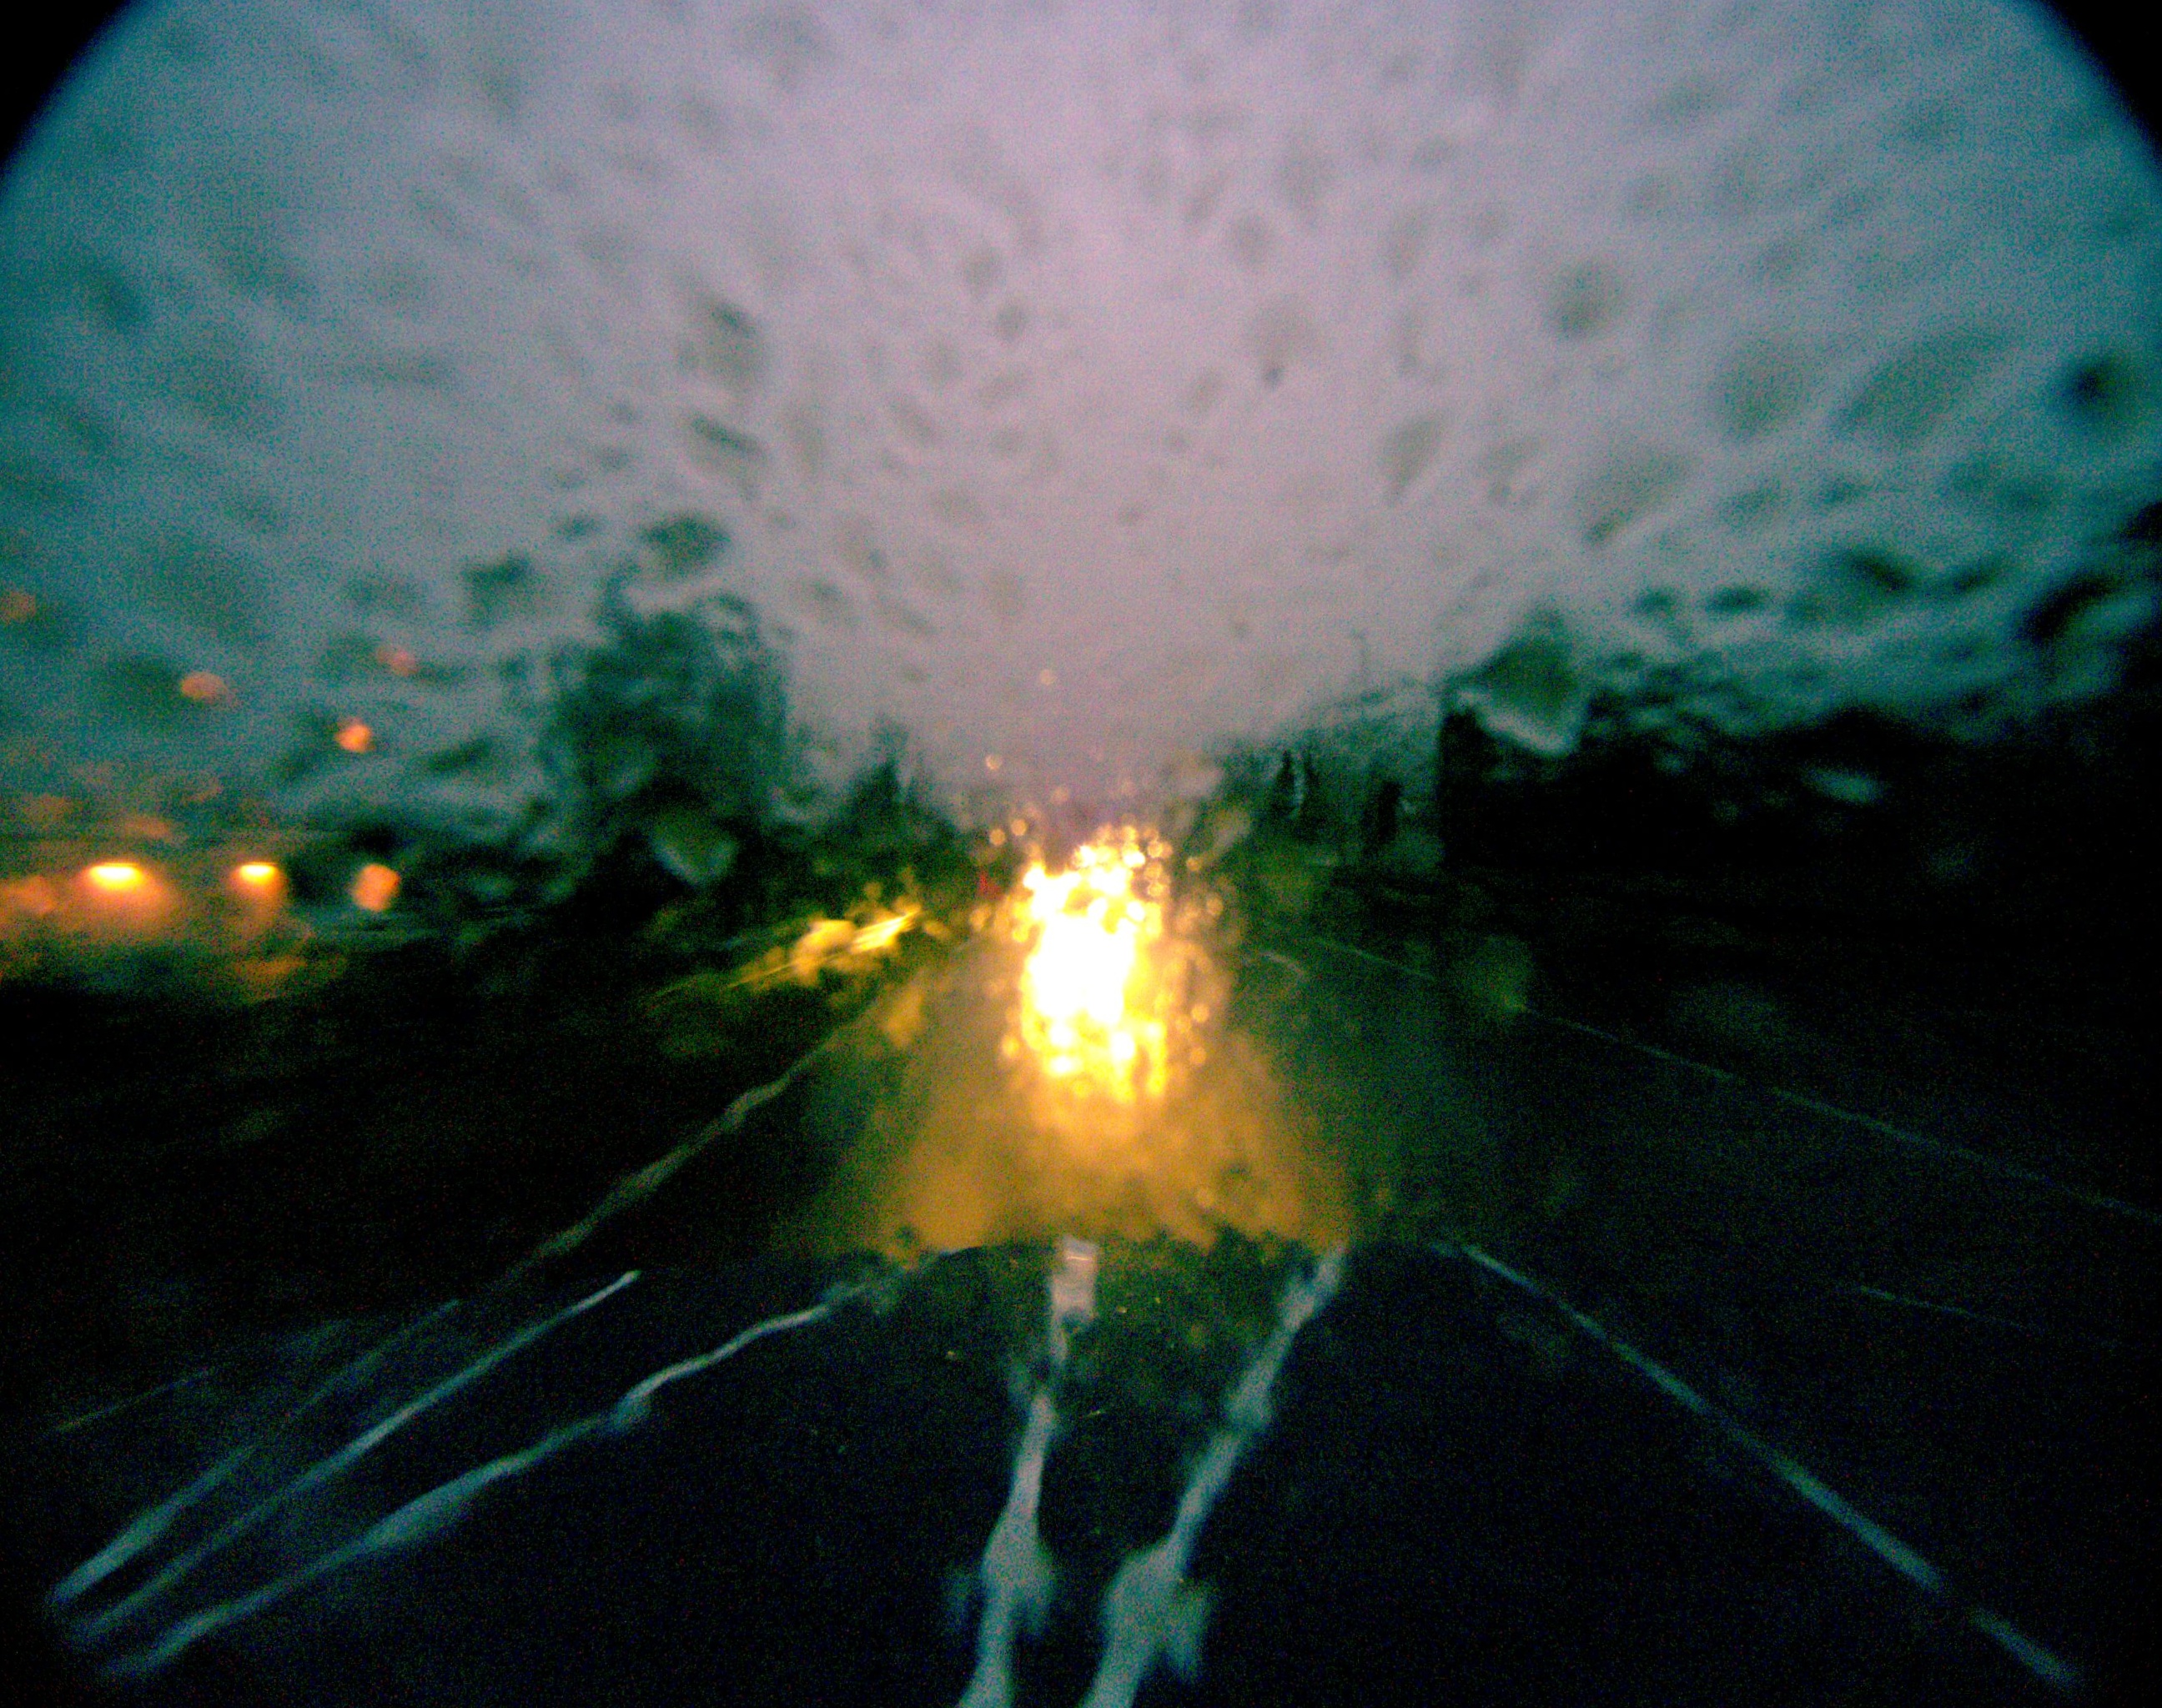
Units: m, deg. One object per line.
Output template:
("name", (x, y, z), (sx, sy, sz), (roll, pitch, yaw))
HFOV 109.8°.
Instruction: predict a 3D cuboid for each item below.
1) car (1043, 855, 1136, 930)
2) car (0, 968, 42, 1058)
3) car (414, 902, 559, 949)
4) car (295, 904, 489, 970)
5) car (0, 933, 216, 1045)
("car", (0.294, 0.898, 20.187), (2.102, 1.566, 4.799), (-4, 1, 2))
("car", (-20.463, 2.916, 12.269), (3.878, 1.469, 1.998), (-4, 0, -15))
("car", (-24.532, 2.914, 31.529), (4.192, 1.508, 1.999), (-4, -1, -12))
("car", (-23.234, 2.751, 25.802), (4.406, 1.705, 1.999), (-4, 0, -9))
("car", (-21.235, 2.768, 15.502), (4.263, 1.843, 1.998), (-3, 0, -15))
